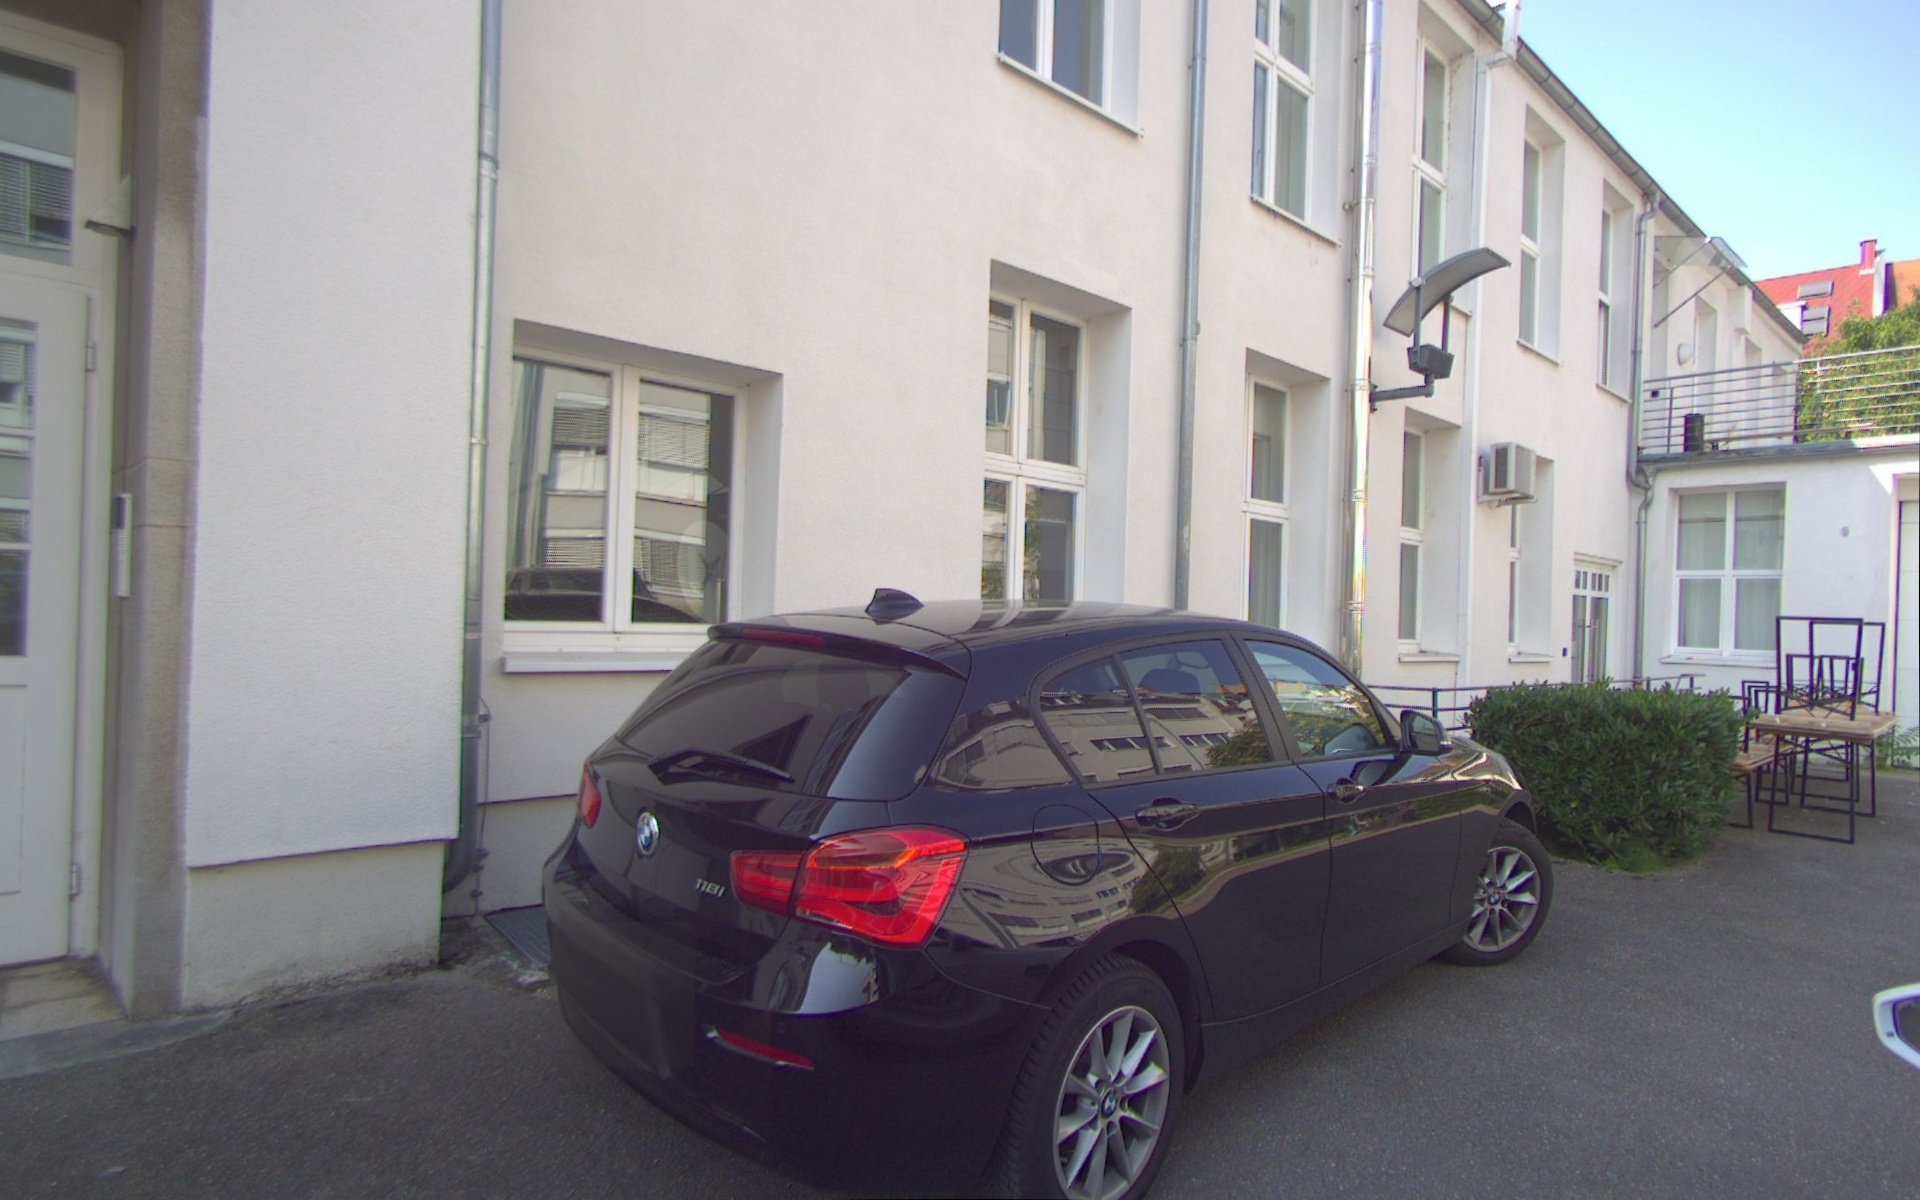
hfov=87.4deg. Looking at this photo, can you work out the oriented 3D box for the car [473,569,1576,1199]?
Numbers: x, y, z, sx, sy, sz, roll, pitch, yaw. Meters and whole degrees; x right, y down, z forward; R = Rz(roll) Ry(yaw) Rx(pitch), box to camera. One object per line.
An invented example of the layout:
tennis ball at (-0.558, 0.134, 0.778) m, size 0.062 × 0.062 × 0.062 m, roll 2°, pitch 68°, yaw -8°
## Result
car at (0.668, 0.712, 3.740) m, size 4.108 × 1.447 × 1.775 m, roll 2°, pitch 0°, yaw -44°
